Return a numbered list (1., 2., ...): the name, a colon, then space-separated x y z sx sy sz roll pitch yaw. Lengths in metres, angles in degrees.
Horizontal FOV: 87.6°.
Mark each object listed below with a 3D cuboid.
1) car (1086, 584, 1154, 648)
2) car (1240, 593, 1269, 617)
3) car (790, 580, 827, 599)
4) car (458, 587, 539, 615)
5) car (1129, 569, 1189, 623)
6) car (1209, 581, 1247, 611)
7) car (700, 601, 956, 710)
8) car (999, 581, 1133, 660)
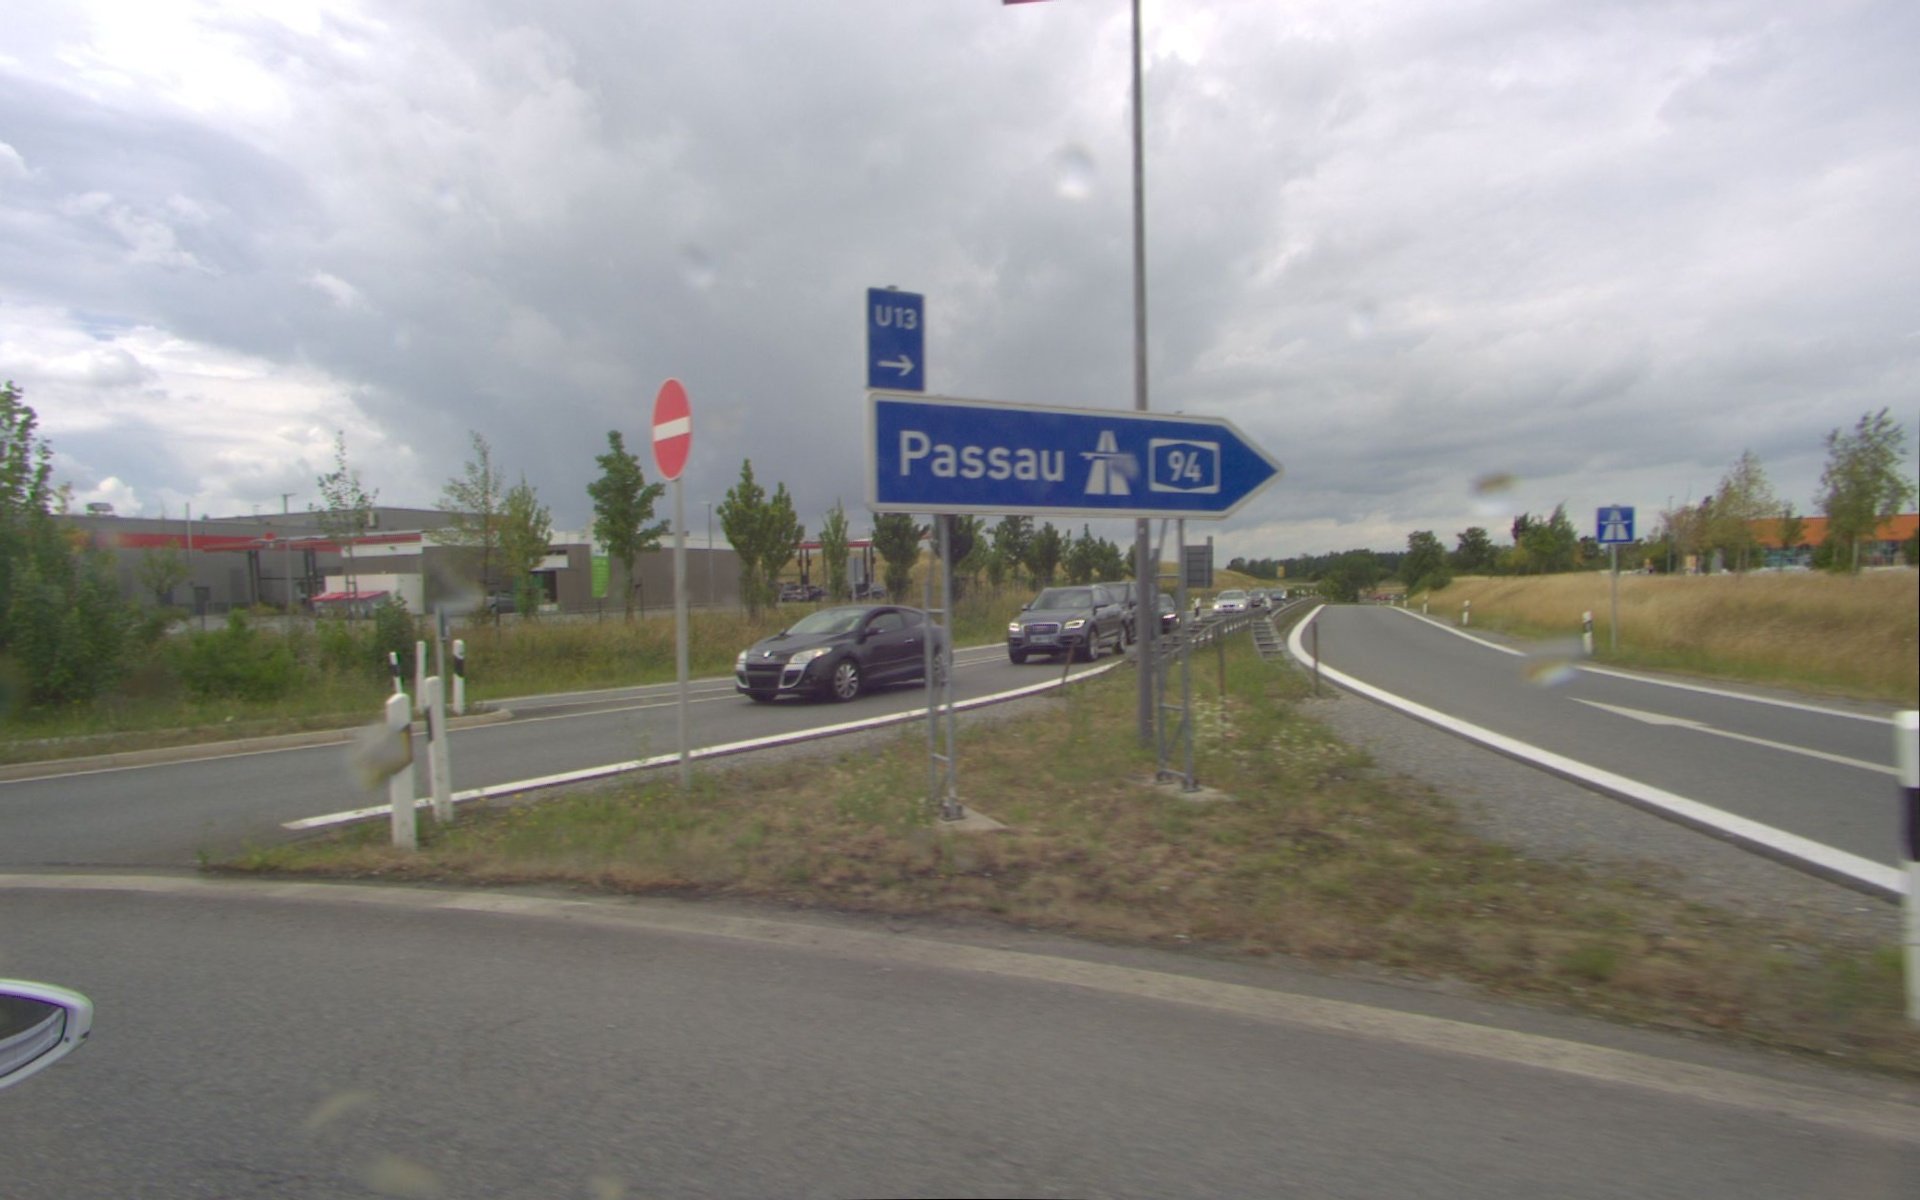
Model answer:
1. car: 4.958 0.433 30.566 1.690 1.744 4.740 -2 0 13
2. car: 21.499 0.348 73.107 1.733 1.686 3.989 -1 1 21
3. car: -13.237 -0.931 87.501 1.767 1.559 3.655 -2 0 17
4. car: -24.985 0.036 54.345 1.641 1.450 3.991 -1 0 19
5. car: 7.584 -0.164 37.896 1.774 1.908 3.992 -2 0 18
6. car: 14.304 -0.235 53.304 1.659 1.518 3.990 -1 1 19
7. car: -1.892 0.769 15.679 1.817 1.388 4.124 -2 0 30
8. car: 2.509 0.415 22.735 1.852 1.604 4.264 -2 0 23
